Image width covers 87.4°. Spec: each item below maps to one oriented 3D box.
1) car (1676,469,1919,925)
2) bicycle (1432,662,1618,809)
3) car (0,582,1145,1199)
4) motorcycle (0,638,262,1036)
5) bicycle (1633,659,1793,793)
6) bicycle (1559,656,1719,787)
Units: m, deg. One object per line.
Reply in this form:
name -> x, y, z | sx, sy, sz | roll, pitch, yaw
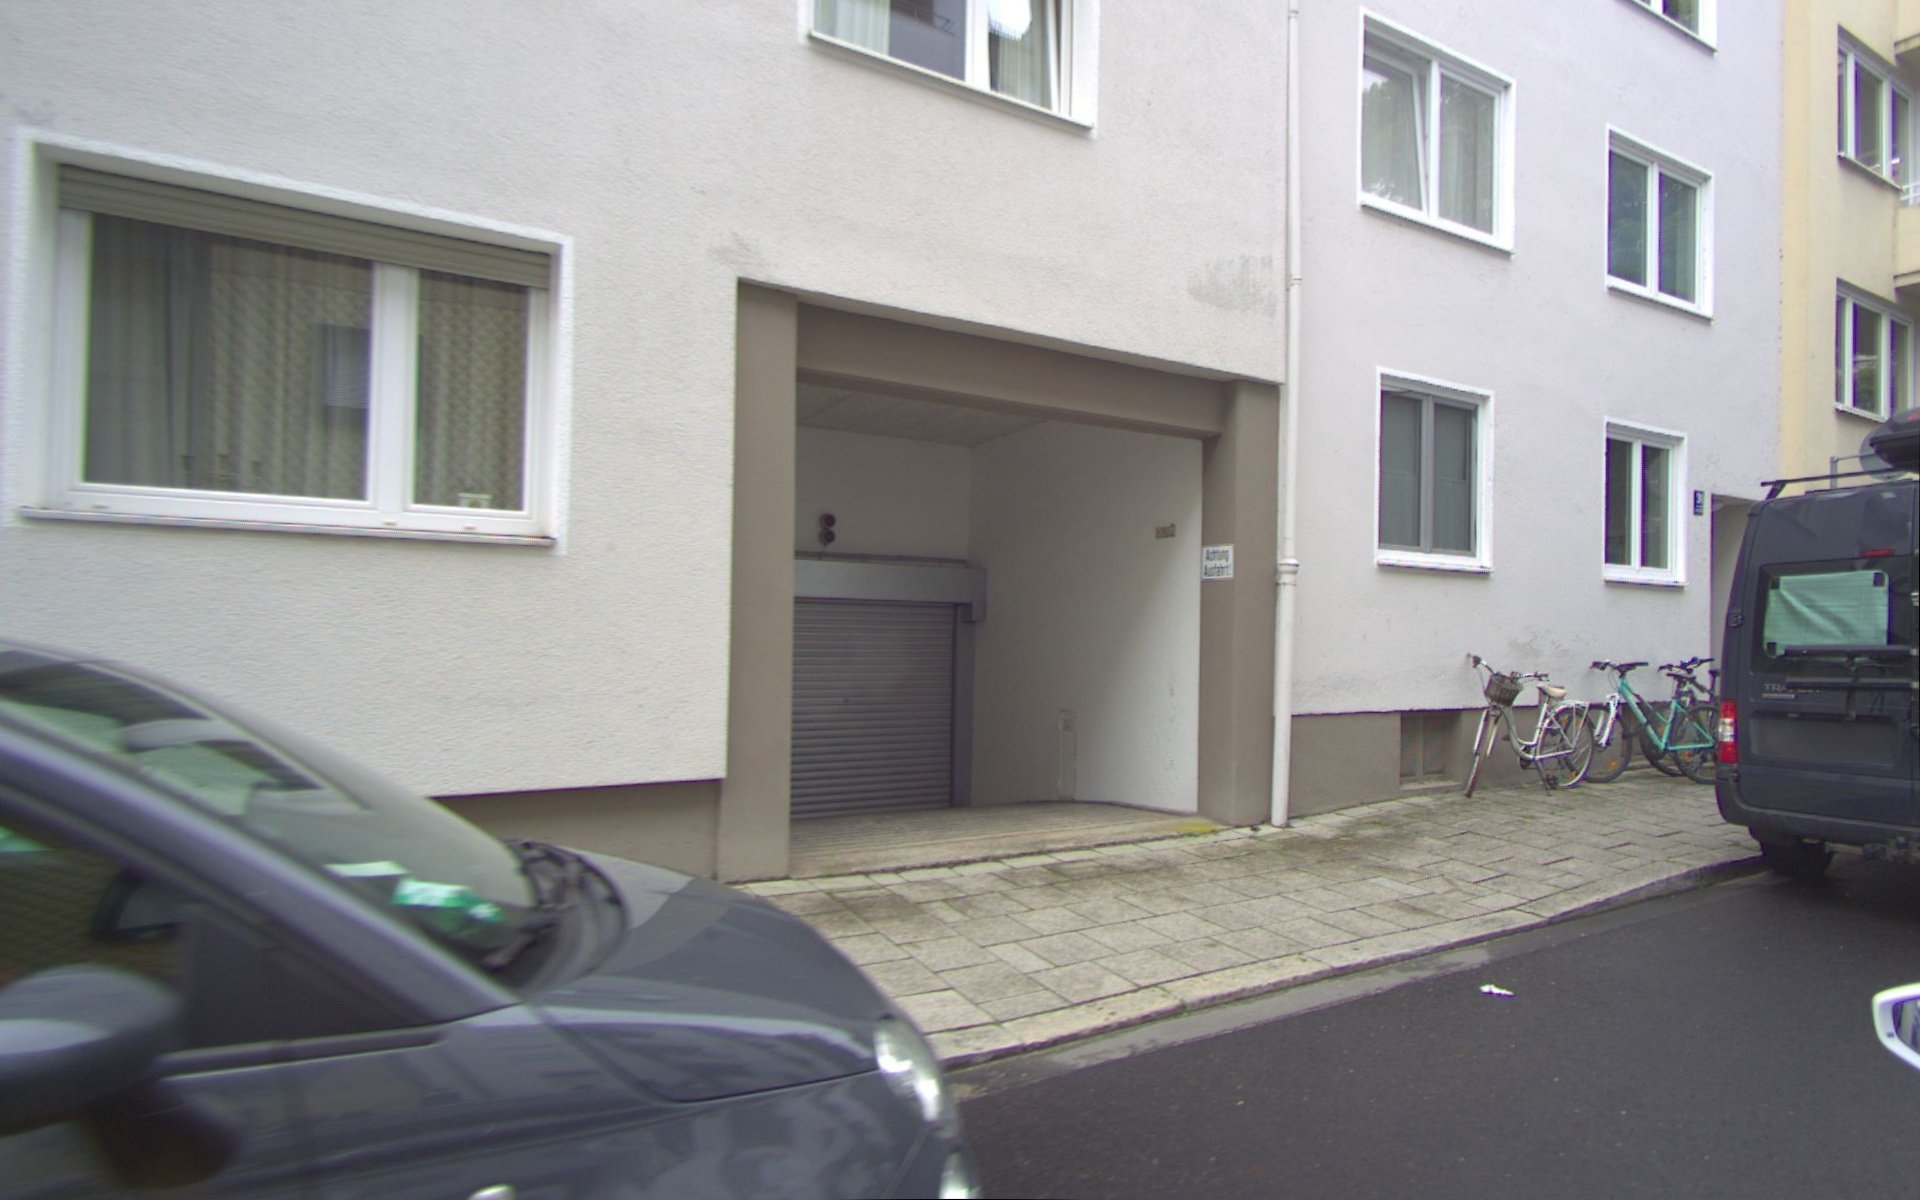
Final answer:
car -> 7.121, 0.576, 6.510 | 5.327, 2.308, 2.009 | 2, -3, -30
bicycle -> 4.764, 1.090, 8.427 | 1.847, 1.112, 0.461 | 2, -1, -29
car -> -1.701, 0.745, 1.381 | 3.697, 1.465, 1.605 | 2, -4, -29
motorcycle -> -3.368, 0.735, 3.203 | 1.840, 1.219, 0.595 | 2, -1, -36
bicycle -> 6.892, 1.108, 9.167 | 1.847, 1.112, 0.461 | 2, -1, -29
bicycle -> 6.377, 1.095, 9.403 | 1.847, 1.112, 0.461 | 2, -1, -29
